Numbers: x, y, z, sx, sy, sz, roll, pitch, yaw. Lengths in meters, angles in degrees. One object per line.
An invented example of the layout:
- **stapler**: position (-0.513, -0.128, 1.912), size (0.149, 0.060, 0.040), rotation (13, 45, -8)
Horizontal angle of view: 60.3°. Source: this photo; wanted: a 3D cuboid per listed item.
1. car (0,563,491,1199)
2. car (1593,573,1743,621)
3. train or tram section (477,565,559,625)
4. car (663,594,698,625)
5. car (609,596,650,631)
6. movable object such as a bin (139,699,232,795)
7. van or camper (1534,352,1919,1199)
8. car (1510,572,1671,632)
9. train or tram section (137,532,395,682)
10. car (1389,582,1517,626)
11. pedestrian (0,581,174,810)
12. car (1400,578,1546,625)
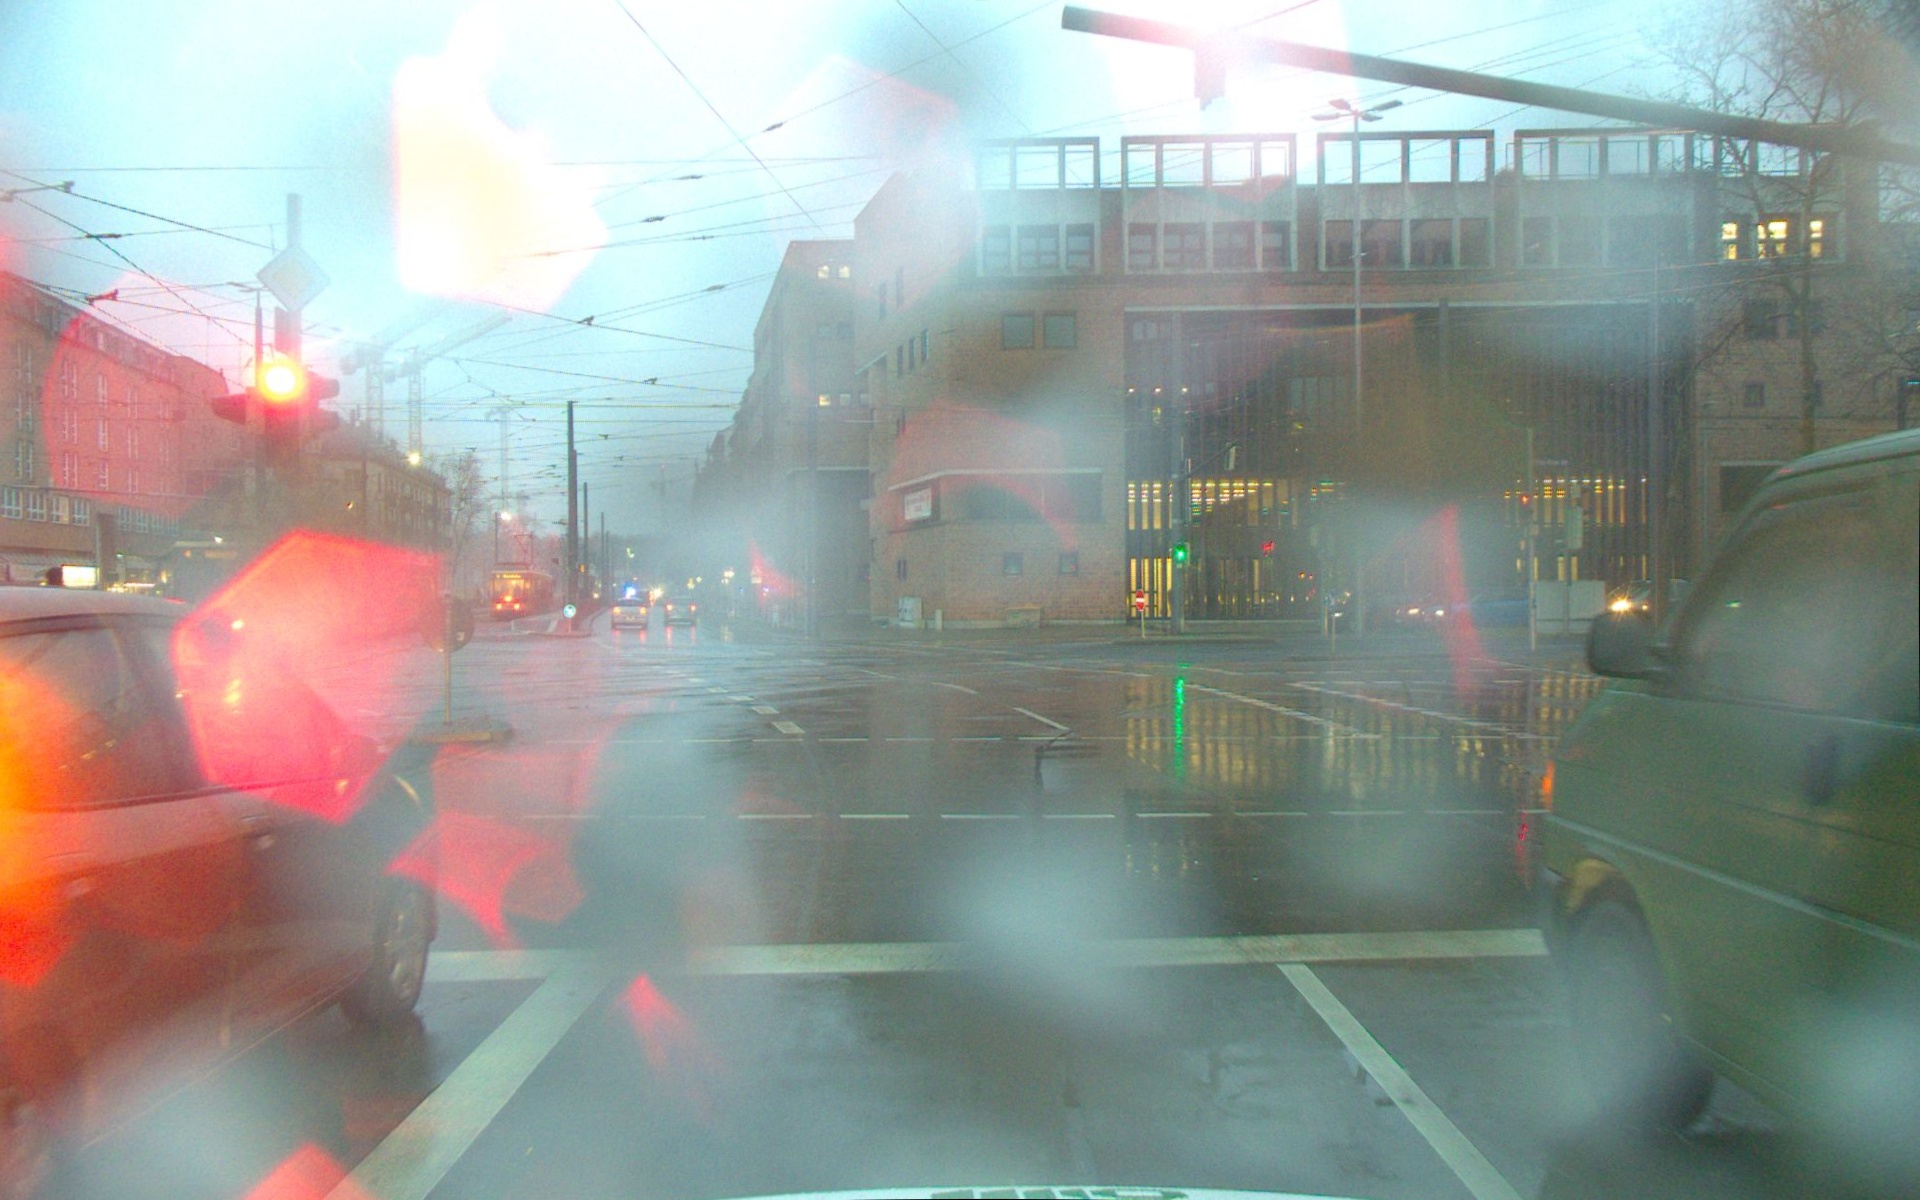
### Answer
- **car**: position (-2.624, 0.682, 4.452), size (1.663, 1.485, 3.757), rotation (-1, 0, -1)
- **car**: position (22.182, -0.103, 51.911), size (3.911, 1.310, 1.846), rotation (-1, 4, -7)
- **train or tram section**: position (-29.468, -0.352, 111.627), size (3.133, 3.496, 27.759), rotation (-1, 0, -10)
- **car**: position (-15.687, 0.522, 92.946), size (1.836, 1.606, 3.992), rotation (2, 0, -9)
- **car**: position (-16.182, 0.629, 81.105), size (1.837, 1.606, 3.990), rotation (2, 0, -11)
- **movable object such as a bin**: position (-6.162, 1.164, 13.160), size (0.405, 0.711, 0.535), rotation (-3, -1, 39)
- **van or camper**: position (2.783, 0.482, 3.211), size (1.721, 1.940, 4.418), rotation (1, 0, -1)
- **car**: position (18.077, 0.034, 47.548), size (3.911, 1.530, 1.846), rotation (-1, 4, -7)
- **train or tram section**: position (-20.615, 0.155, 51.040), size (2.812, 3.677, 20.024), rotation (-1, 0, -10)
- **car**: position (16.426, 0.123, 55.183), size (3.649, 1.284, 1.846), rotation (-1, 4, -7)
- **pedestrian**: position (-6.655, 0.694, 12.515), size (0.703, 1.629, 1.031), rotation (-3, -1, 40)
- **car**: position (15.813, 0.030, 51.085), size (3.911, 1.284, 1.846), rotation (-1, 4, -7)
